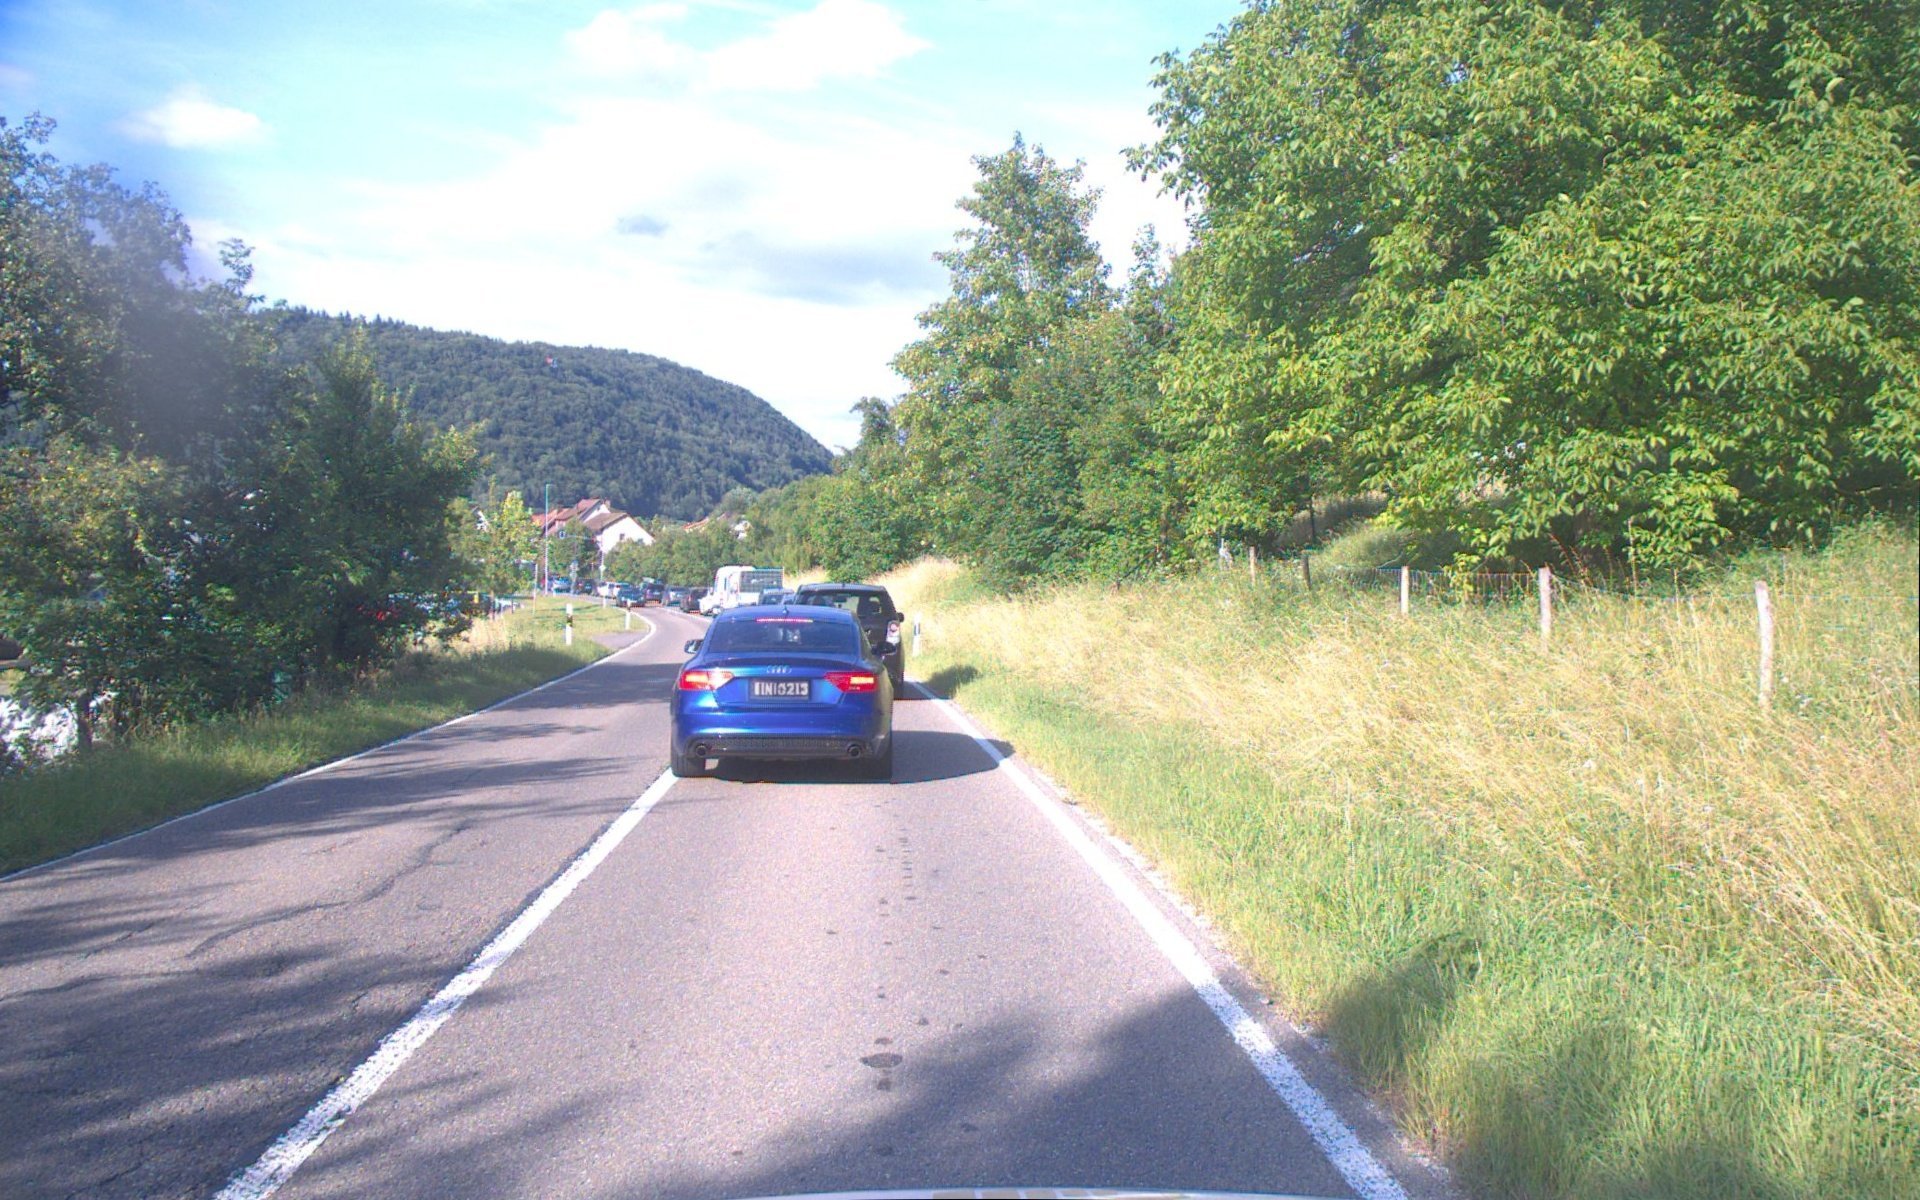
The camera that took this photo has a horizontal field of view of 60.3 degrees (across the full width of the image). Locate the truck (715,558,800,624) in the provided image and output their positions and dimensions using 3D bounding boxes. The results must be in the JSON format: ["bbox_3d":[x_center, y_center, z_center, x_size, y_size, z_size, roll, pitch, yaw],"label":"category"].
[{"bbox_3d":[-9.306,-0.404,75.080,2.814,2.712,10.360,1,0,-12],"label":"truck"}]

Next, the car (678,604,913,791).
[{"bbox_3d":[-1.392,0.733,14.416,1.758,1.383,3.996,0,0,-5],"label":"car"}]

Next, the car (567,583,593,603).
[{"bbox_3d":[-38.889,-0.690,169.213,1.966,2.049,3.972,1,0,-23],"label":"car"}]

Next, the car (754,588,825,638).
[{"bbox_3d":[-5.519,0.420,53.083,1.957,1.508,3.990,1,0,-10],"label":"car"}]

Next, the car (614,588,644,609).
[{"bbox_3d":[-22.896,-0.079,114.523,1.958,1.400,3.989,1,0,-11],"label":"car"}]

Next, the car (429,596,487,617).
[{"bbox_3d":[-38.304,0.508,126.283,3.908,1.580,1.781,1,0,-4],"label":"car"}]

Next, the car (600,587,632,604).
[{"bbox_3d":[-30.398,-0.383,145.949,1.967,1.508,3.970,1,0,-24],"label":"car"}]

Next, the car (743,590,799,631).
[{"bbox_3d":[-7.301,0.404,63.696,1.957,1.508,3.991,1,0,-9],"label":"car"}]

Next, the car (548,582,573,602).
[{"bbox_3d":[-43.377,-0.864,179.433,1.966,2.049,3.972,1,0,-23],"label":"car"}]

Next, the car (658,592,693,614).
[{"bbox_3d":[-20.609,0.211,119.707,1.963,1.508,3.979,1,0,-18],"label":"car"}]

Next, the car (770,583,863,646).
[{"bbox_3d":[-3.509,0.340,39.897,1.957,1.411,3.992,1,0,-9],"label":"car"}]

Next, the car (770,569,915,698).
[{"bbox_3d":[-1.740,0.473,24.649,1.954,1.732,3.997,1,0,-4],"label":"car"}]

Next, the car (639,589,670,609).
[{"bbox_3d":[-24.244,-0.080,131.150,1.963,1.508,3.979,1,0,-18],"label":"car"}]

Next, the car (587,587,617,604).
[{"bbox_3d":[-33.012,-0.411,152.359,1.967,1.508,3.970,1,0,-24],"label":"car"}]

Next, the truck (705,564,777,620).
[{"bbox_3d":[-11.488,-0.418,85.883,2.814,2.712,10.611,1,0,-12],"label":"truck"}]

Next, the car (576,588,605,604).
[{"bbox_3d":[-35.637,-0.418,159.520,1.967,1.508,3.970,1,0,-24],"label":"car"}]

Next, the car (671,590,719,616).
[{"bbox_3d":[-15.840,0.195,98.768,1.966,1.508,3.973,1,0,-22],"label":"car"}]
